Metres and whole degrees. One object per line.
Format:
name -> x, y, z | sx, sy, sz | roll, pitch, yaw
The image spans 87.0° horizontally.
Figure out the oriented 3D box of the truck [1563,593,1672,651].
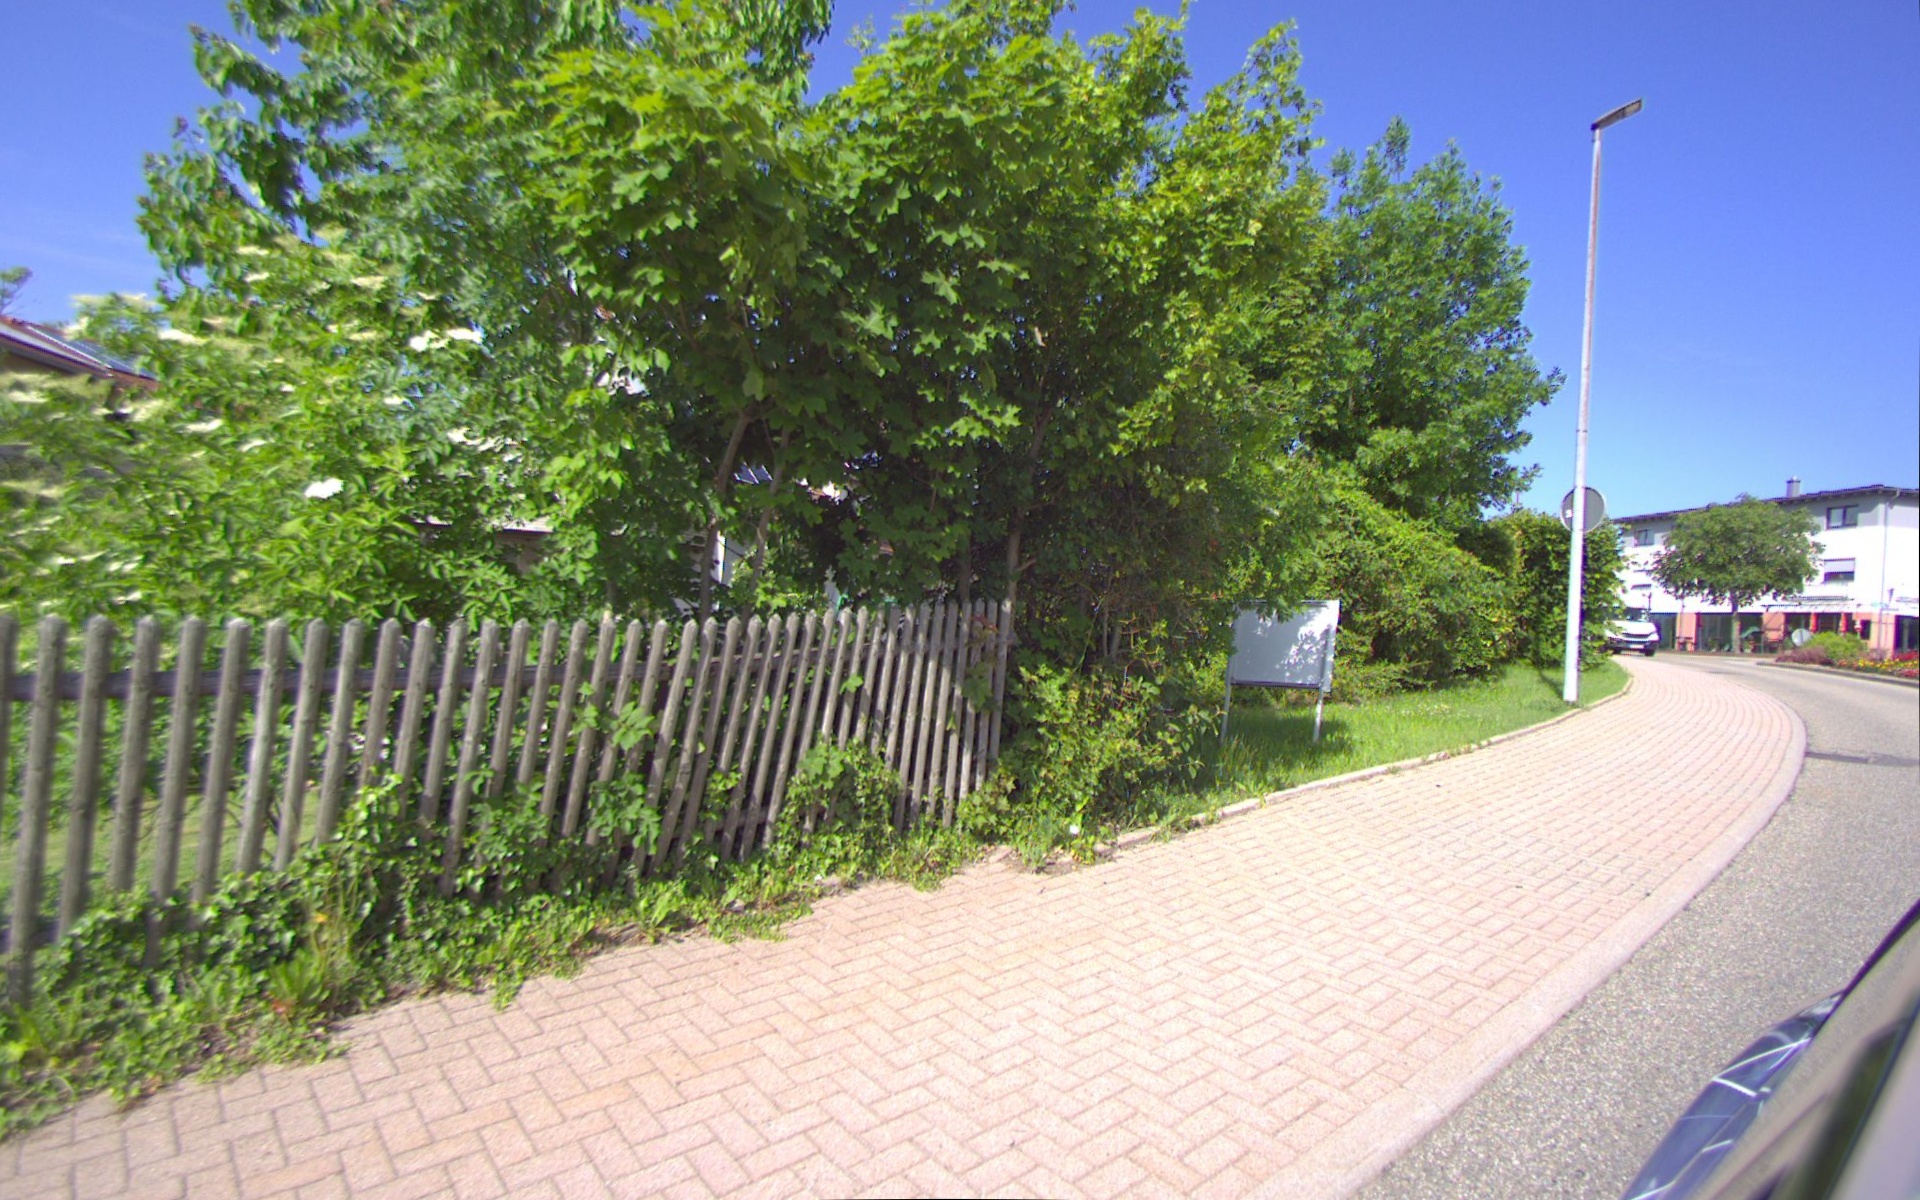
truck -> 28.662, 1.046, 44.390 | 1.971, 2.372, 6.462 | -1, -3, 14
